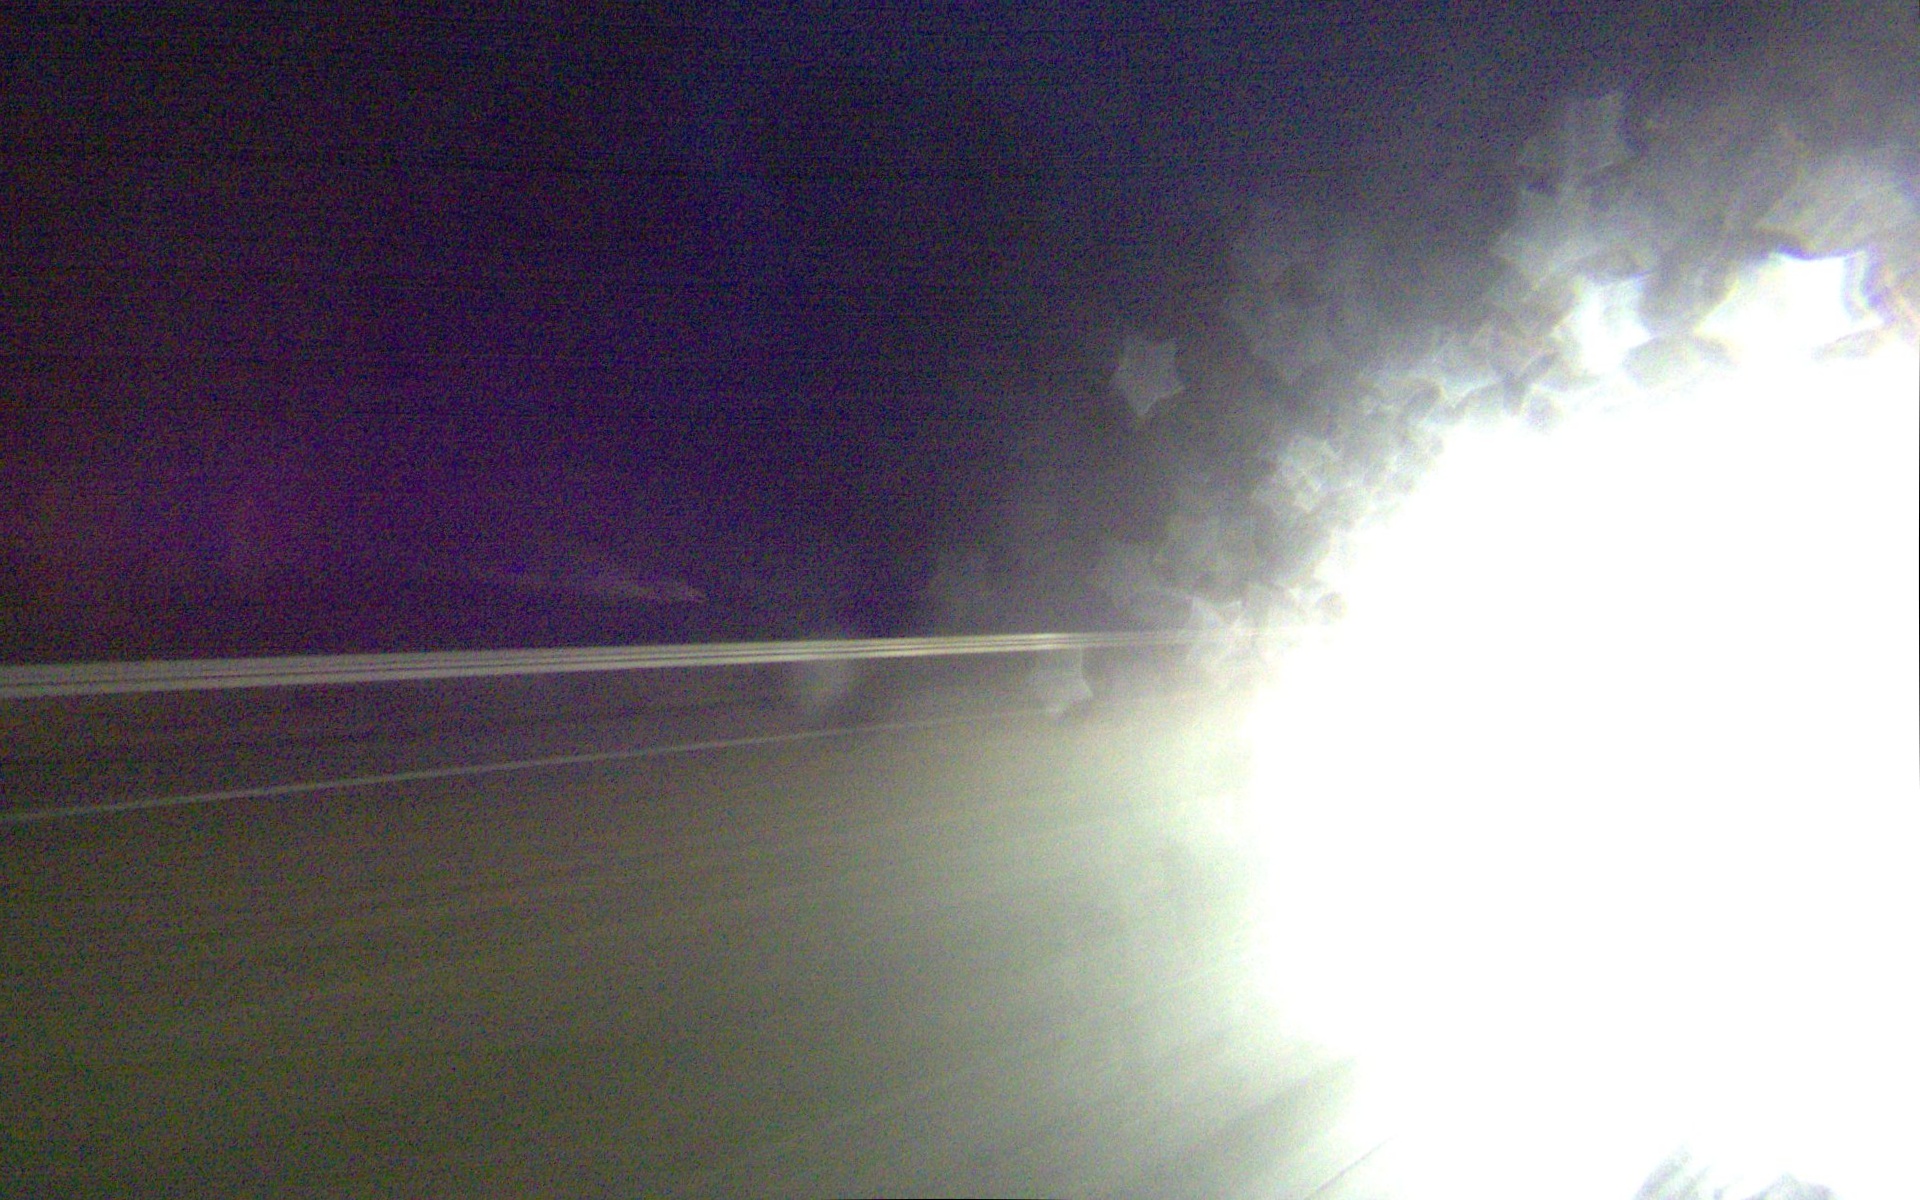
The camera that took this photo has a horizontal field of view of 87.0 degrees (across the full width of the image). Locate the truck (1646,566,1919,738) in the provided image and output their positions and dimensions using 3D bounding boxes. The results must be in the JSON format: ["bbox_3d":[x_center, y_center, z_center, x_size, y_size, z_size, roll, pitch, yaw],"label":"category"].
[{"bbox_3d":[10.232,0.500,12.386,4.769,1.717,1.847,-1,0,-41],"label":"truck"}]

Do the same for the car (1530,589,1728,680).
[{"bbox_3d":[12.680,0.578,19.027,5.271,1.498,1.746,0,0,-41],"label":"car"}]

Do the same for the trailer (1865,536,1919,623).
[{"bbox_3d":[50.689,-1.059,53.013,13.397,4.149,2.871,-1,0,-39],"label":"trailer"}]

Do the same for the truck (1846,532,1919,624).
[{"bbox_3d":[45.011,-0.995,48.404,6.888,4.155,2.865,0,0,-39],"label":"truck"}]
